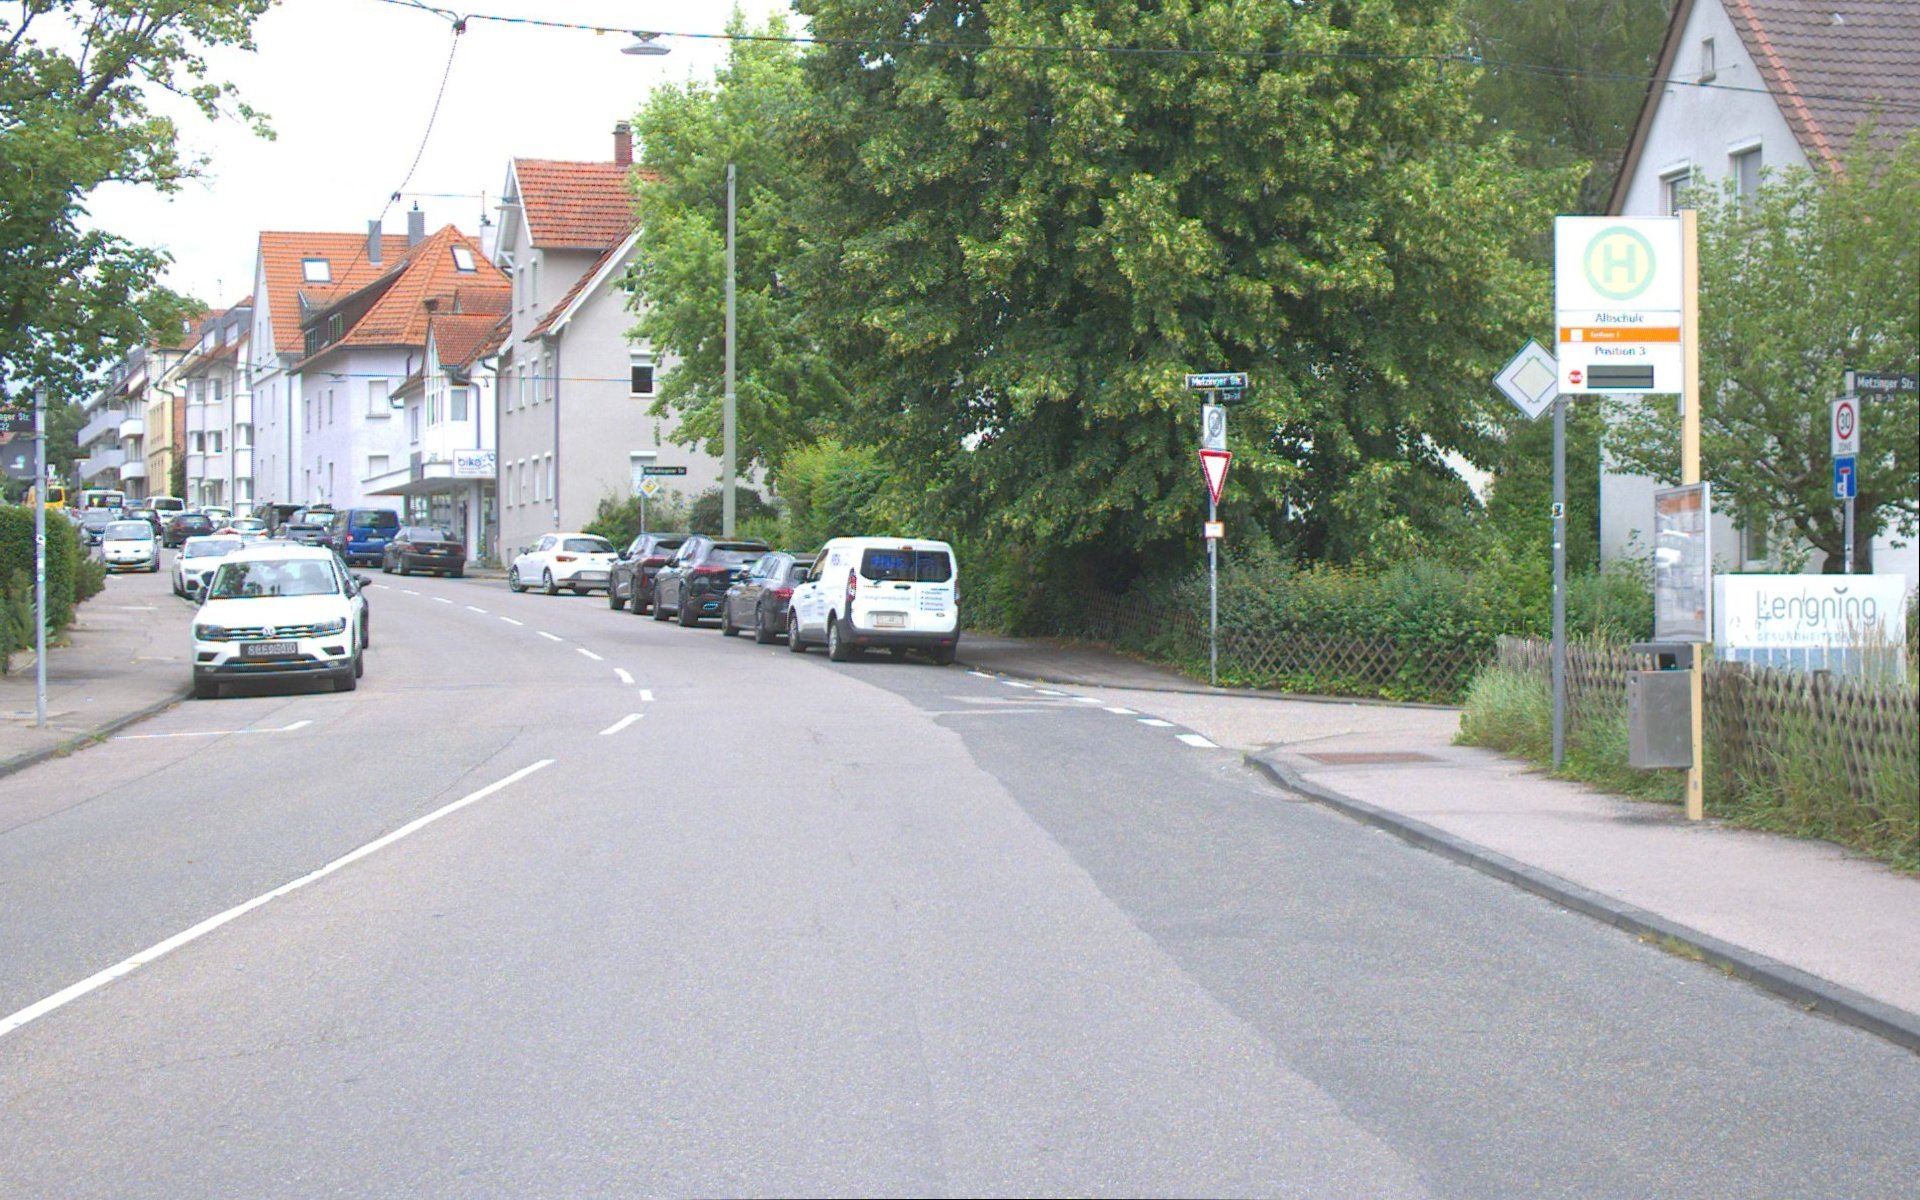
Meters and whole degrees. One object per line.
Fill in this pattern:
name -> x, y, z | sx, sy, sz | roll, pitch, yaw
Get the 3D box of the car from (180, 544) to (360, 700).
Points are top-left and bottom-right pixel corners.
car -> -8.165, 0.212, 40.994 | 1.849, 1.708, 4.576 | -2, 1, -9

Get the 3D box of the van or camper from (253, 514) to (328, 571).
van or camper -> -25.921, -2.226, 132.962 | 1.993, 2.058, 5.946 | 2, 1, -19

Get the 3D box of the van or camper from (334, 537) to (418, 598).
van or camper -> -19.444, -1.109, 114.285 | 1.926, 1.919, 4.832 | 1, 1, -20

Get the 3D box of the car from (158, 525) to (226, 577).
car -> -30.907, -1.970, 138.234 | 2.151, 2.007, 4.001 | 1, 1, -20

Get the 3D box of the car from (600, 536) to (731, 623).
car -> -5.876, -0.414, 68.051 | 1.810, 1.610, 4.541 | 2, 0, -14

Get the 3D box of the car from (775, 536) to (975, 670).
car -> -1.304, 0.008, 50.499 | 1.837, 1.768, 4.319 | 2, 1, -16

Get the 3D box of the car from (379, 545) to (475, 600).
car -> -16.092, -0.841, 103.561 | 1.993, 1.512, 4.893 | 2, 1, -19

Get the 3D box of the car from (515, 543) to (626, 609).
car -> -9.077, -0.580, 79.801 | 1.940, 1.434, 4.001 | 1, 1, -15

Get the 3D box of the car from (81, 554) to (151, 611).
car -> -25.619, -0.544, 104.467 | 1.833, 1.572, 4.033 | -3, 2, -12

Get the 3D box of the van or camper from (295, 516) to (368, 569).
van or camper -> -23.035, -2.118, 125.928 | 1.870, 1.822, 4.682 | 2, 1, -19

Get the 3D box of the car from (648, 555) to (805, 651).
car -> -4.281, 0.027, 62.262 | 1.993, 1.610, 4.541 | 2, 0, -14

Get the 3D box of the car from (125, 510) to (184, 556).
car -> -36.816, -3.051, 157.132 | 2.151, 2.007, 4.001 | 1, 1, -20

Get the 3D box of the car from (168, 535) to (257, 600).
car -> -17.567, -0.785, 80.672 | 1.725, 1.453, 3.900 | -2, 1, -16

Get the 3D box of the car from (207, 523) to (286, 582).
car -> -25.443, -1.719, 122.481 | 2.151, 2.007, 4.001 | 1, 1, -20

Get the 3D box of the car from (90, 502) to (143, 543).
car -> -42.365, -3.882, 172.563 | 2.151, 2.007, 4.001 | 1, 1, -20

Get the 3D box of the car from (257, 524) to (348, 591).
car -> -20.626, -1.340, 107.719 | 2.151, 2.007, 4.001 | 1, 1, -20

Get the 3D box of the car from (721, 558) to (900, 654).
car -> -2.475, 0.063, 55.658 | 1.993, 1.473, 4.621 | 0, 1, -14
